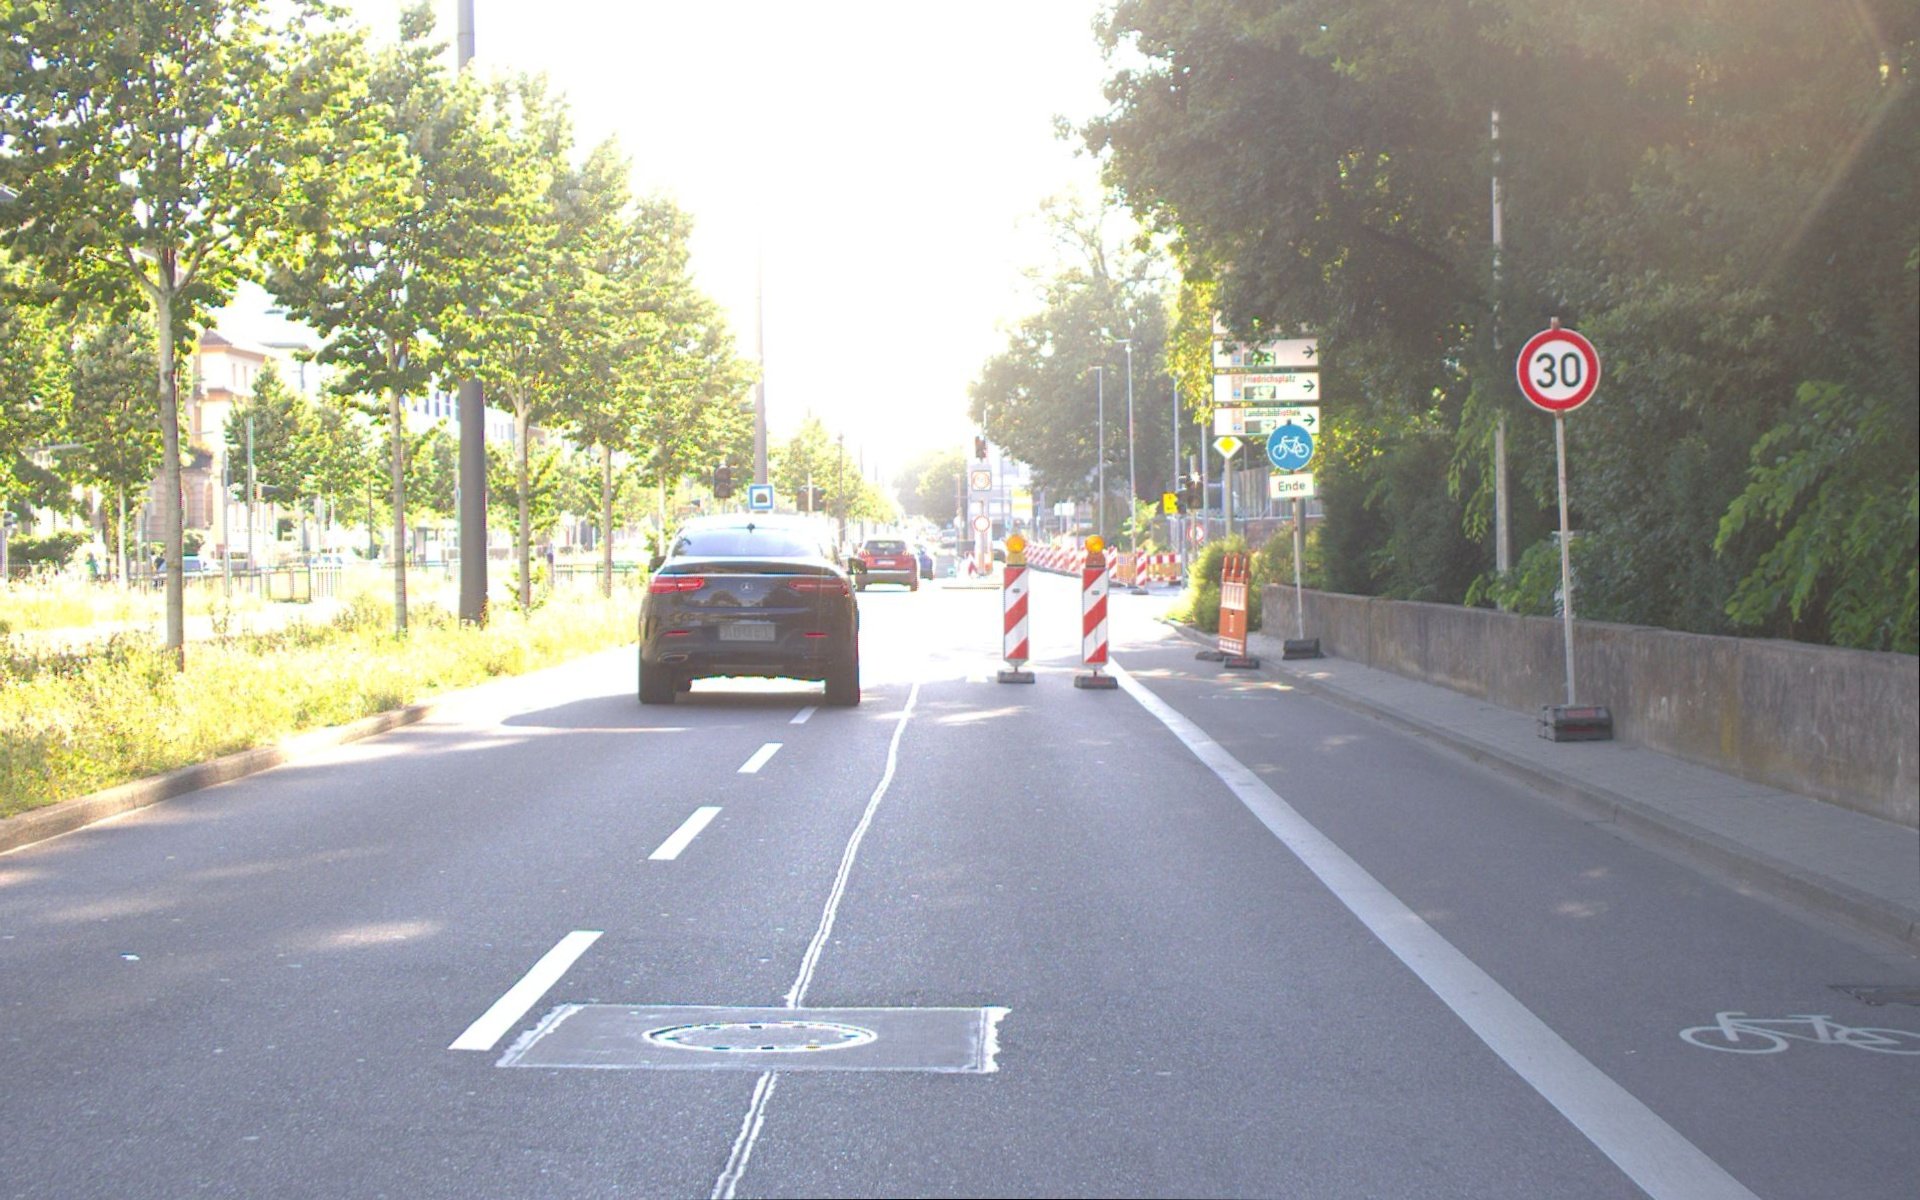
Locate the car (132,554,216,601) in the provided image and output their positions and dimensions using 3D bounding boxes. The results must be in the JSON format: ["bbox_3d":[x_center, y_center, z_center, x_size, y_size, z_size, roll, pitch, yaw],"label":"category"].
[{"bbox_3d":[-24.871,-0.726,108.887,1.933,1.392,3.688,-1,1,-2],"label":"car"}]

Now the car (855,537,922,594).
[{"bbox_3d":[-2.065,-1.022,99.938,1.885,1.575,4.001,0,2,-1],"label":"car"}]

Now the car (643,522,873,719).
[{"bbox_3d":[-1.961,0.141,32.228,1.993,1.728,4.001,0,1,-6],"label":"car"}]

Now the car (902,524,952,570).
[{"bbox_3d":[-1.204,-1.932,124.145,1.767,1.598,3.773,-1,1,-1],"label":"car"}]

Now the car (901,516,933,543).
[{"bbox_3d":[-2.541,-4.201,204.691,1.885,1.575,4.001,0,2,-1],"label":"car"}]
